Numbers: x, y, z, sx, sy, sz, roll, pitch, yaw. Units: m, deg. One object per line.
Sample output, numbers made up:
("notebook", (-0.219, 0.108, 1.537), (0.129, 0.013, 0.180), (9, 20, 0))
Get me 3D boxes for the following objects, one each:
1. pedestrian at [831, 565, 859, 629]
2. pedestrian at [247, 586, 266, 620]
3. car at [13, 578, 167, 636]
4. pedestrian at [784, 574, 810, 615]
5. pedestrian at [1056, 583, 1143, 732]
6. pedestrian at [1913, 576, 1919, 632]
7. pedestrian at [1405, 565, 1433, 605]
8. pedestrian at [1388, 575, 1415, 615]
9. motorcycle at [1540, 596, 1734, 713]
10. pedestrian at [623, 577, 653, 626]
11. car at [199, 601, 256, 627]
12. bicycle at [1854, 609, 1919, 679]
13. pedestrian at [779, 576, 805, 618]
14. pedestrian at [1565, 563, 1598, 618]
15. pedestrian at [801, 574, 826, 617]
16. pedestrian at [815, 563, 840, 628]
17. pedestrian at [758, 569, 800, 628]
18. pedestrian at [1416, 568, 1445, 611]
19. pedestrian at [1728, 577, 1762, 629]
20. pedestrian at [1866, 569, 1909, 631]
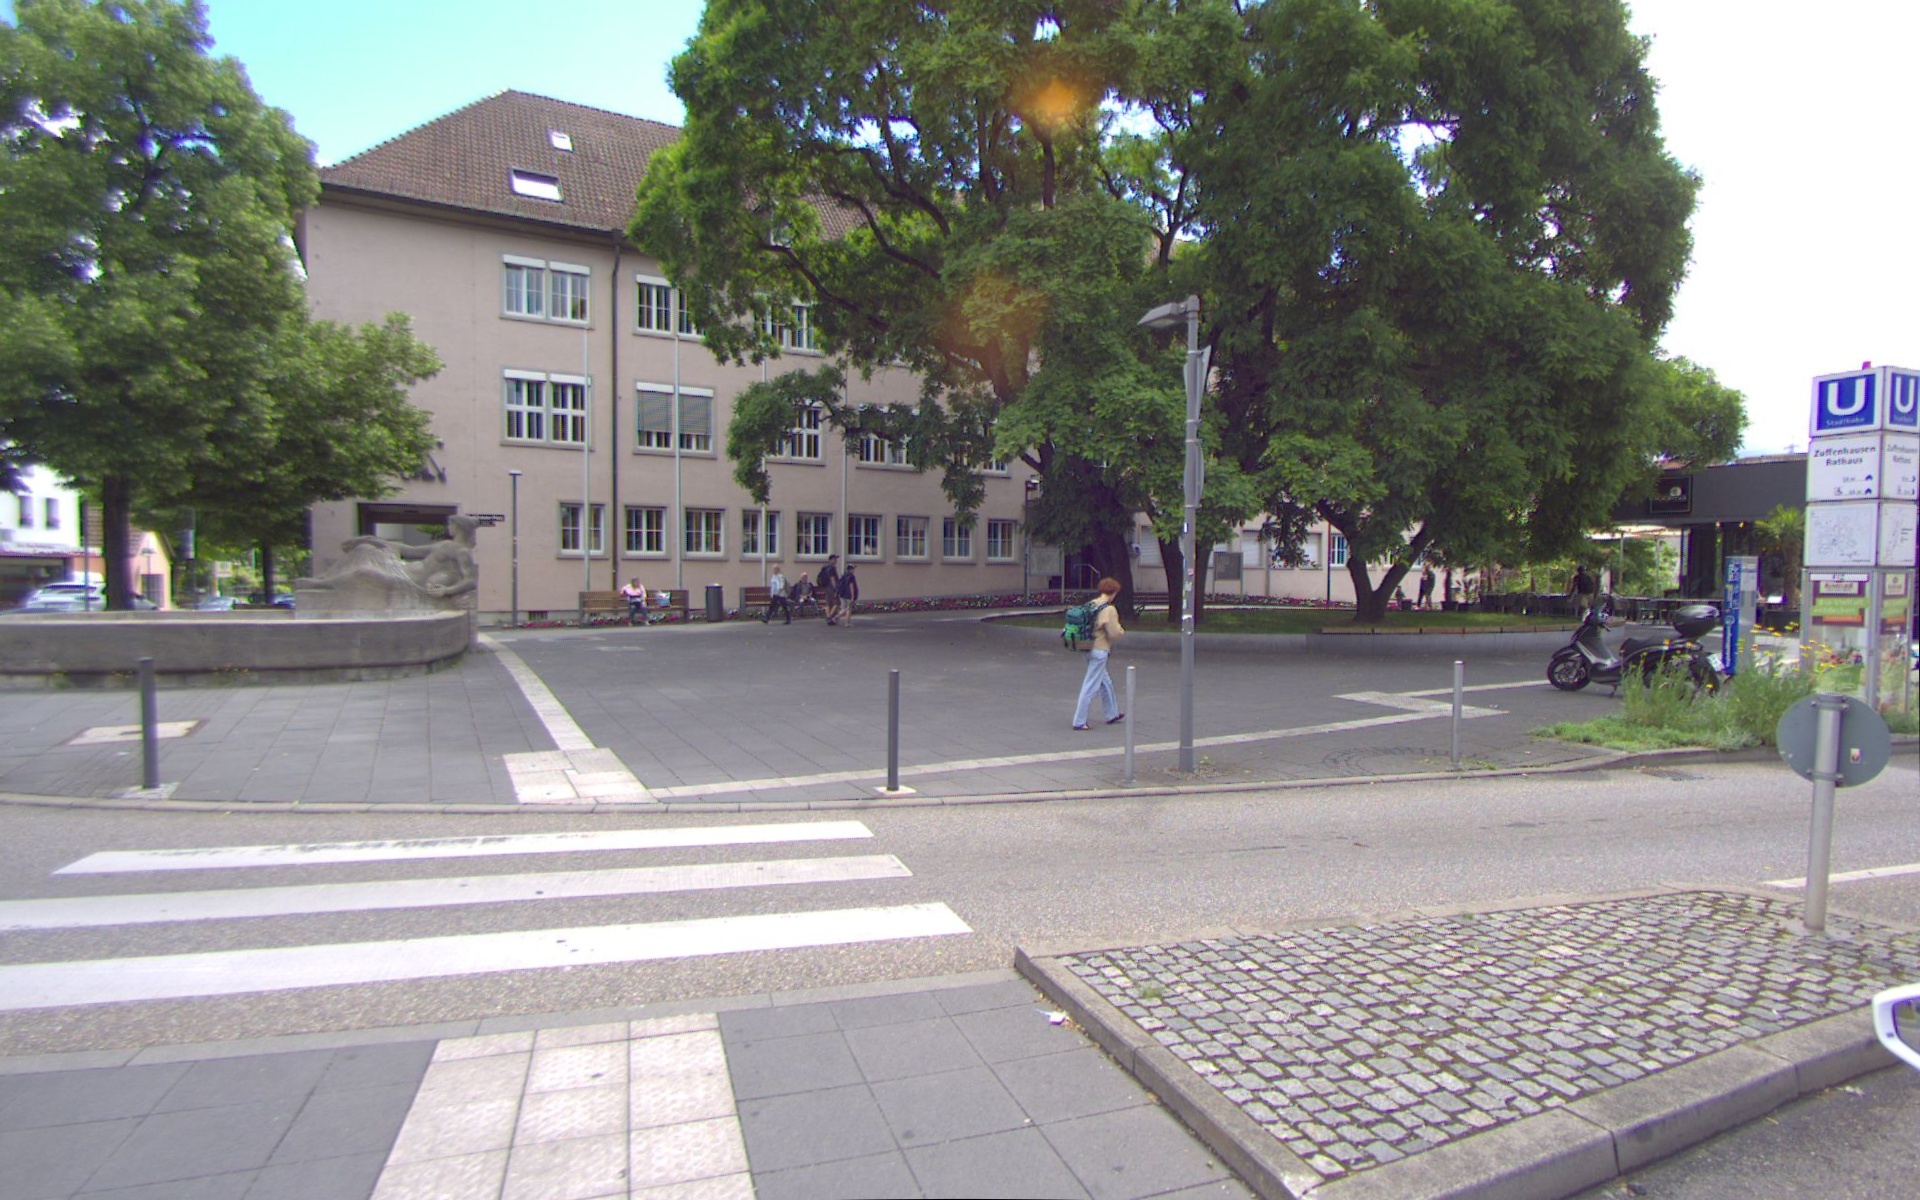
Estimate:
("pedestrian", (-2.909, -0.078, 25.294), (0.627, 1.544, 0.576), (1, 4, -11))
("pedestrian", (-33.380, 0.140, 47.671), (0.589, 1.569, 0.578), (2, 1, -21))
("car", (-25.384, 0.186, 29.505), (1.952, 1.551, 3.985), (1, 0, -17))
("pedestrian", (-4.817, -0.153, 29.670), (0.479, 1.178, 0.579), (2, 1, 30))
("pedestrian", (1.494, 0.598, 10.797), (0.774, 1.535, 0.550), (-1, 3, -14))
("pedestrian", (25.731, 0.102, 26.533), (0.606, 1.483, 0.581), (1, 1, -17))
("pedestrian", (18.611, -0.614, 40.704), (0.628, 1.598, 0.783), (1, 1, -26))
("pedestrian", (17.688, -0.201, 40.254), (0.778, 1.598, 0.633), (1, 1, -25))
("motorcycle", (8.781, 0.653, 13.161), (0.575, 1.307, 2.127), (-2, 3, -23))
("pedestrian", (-8.506, 0.040, 26.527), (0.690, 1.279, 0.577), (2, 0, -22))
("car", (-39.188, 0.751, 53.814), (1.709, 1.283, 3.974), (1, 0, -25))
("bicycle", (14.499, 0.668, 15.048), (0.492, 1.010, 1.610), (1, 1, -19))
("pedestrian", (-4.803, -0.086, 28.770), (0.478, 1.198, 0.580), (2, 0, 22))
("pedestrian", (18.263, -0.269, 29.513), (0.576, 1.598, 0.611), (1, 1, -29))
("pedestrian", (-4.270, -0.126, 29.268), (0.478, 1.238, 0.580), (2, 0, 22))
("pedestrian", (-3.423, -0.130, 25.912), (0.564, 1.630, 0.436), (1, 4, -11))
("pedestrian", (-4.772, -0.030, 26.447), (0.688, 1.512, 0.814), (2, 1, 29))
("pedestrian", (18.443, -0.411, 39.395), (0.628, 1.649, 0.783), (1, 1, -26))
("pedestrian", (21.485, 0.081, 27.480), (0.610, 1.398, 0.576), (0, 1, -38))
("pedestrian", (24.606, 0.000, 26.659), (0.571, 1.640, 0.616), (1, 1, 10))
